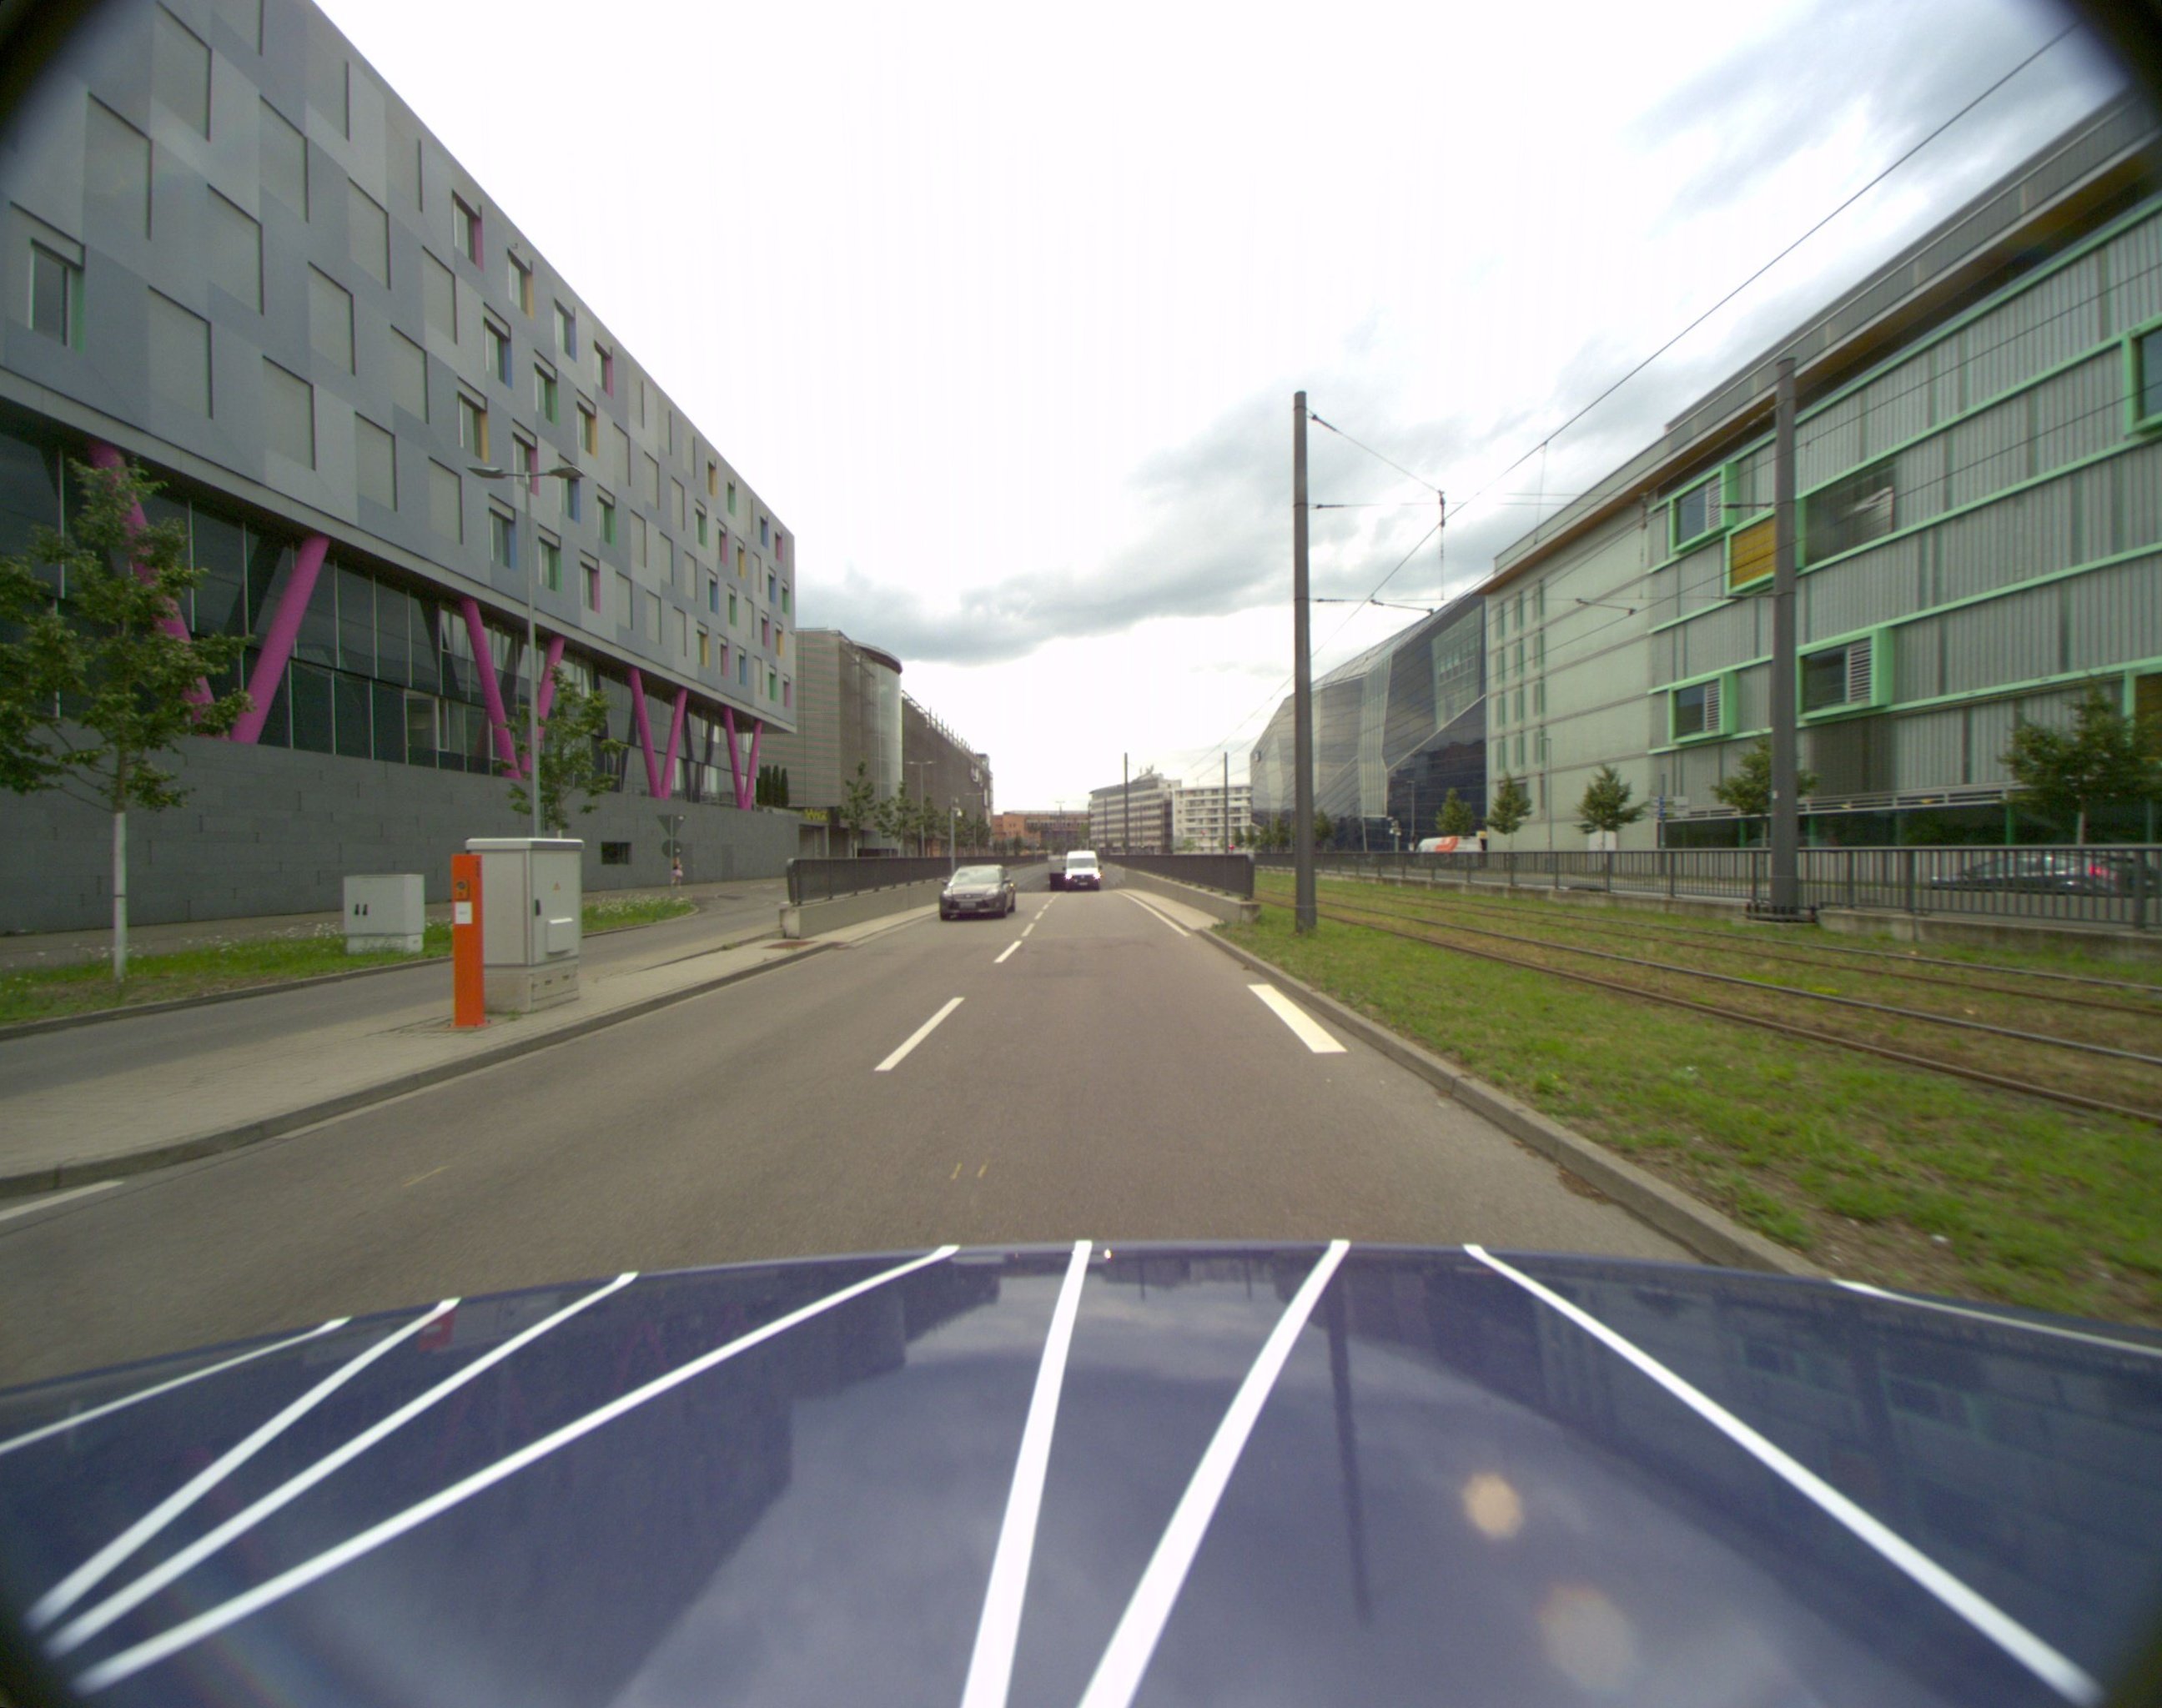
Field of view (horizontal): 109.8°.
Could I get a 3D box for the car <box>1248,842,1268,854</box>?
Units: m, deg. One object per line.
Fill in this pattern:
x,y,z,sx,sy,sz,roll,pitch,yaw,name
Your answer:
25.919,-0.847,111.624,1.998,1.583,4.768,-1,-1,2,car

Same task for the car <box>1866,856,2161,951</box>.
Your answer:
23.174,1.218,18.856,1.999,2.000,4.974,-2,-4,-2,car

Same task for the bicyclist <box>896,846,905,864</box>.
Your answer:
-18.290,0.134,77.015,0.784,1.791,0.705,-2,-3,0,bicyclist

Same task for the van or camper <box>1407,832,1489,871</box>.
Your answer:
23.650,-0.140,49.344,2.178,2.273,6.506,-2,0,1,van or camper

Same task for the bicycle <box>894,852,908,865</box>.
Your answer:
-18.275,0.456,77.245,0.801,1.151,2.346,-2,-4,0,bicycle

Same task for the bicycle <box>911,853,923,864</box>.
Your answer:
-17.935,0.519,82.943,0.801,1.151,2.345,-2,0,0,bicycle

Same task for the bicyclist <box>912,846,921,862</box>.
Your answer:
-17.939,0.014,82.855,0.784,1.792,0.705,-2,0,0,bicyclist

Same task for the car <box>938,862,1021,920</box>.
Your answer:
-2.839,1.069,22.129,1.752,1.490,4.270,-1,-2,1,car

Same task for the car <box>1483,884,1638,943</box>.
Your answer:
16.082,2.006,25.880,1.999,1.751,4.974,-2,-4,-1,car

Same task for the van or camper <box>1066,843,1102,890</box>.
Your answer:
0.156,0.877,47.449,2.043,2.569,5.045,-1,-5,0,van or camper
